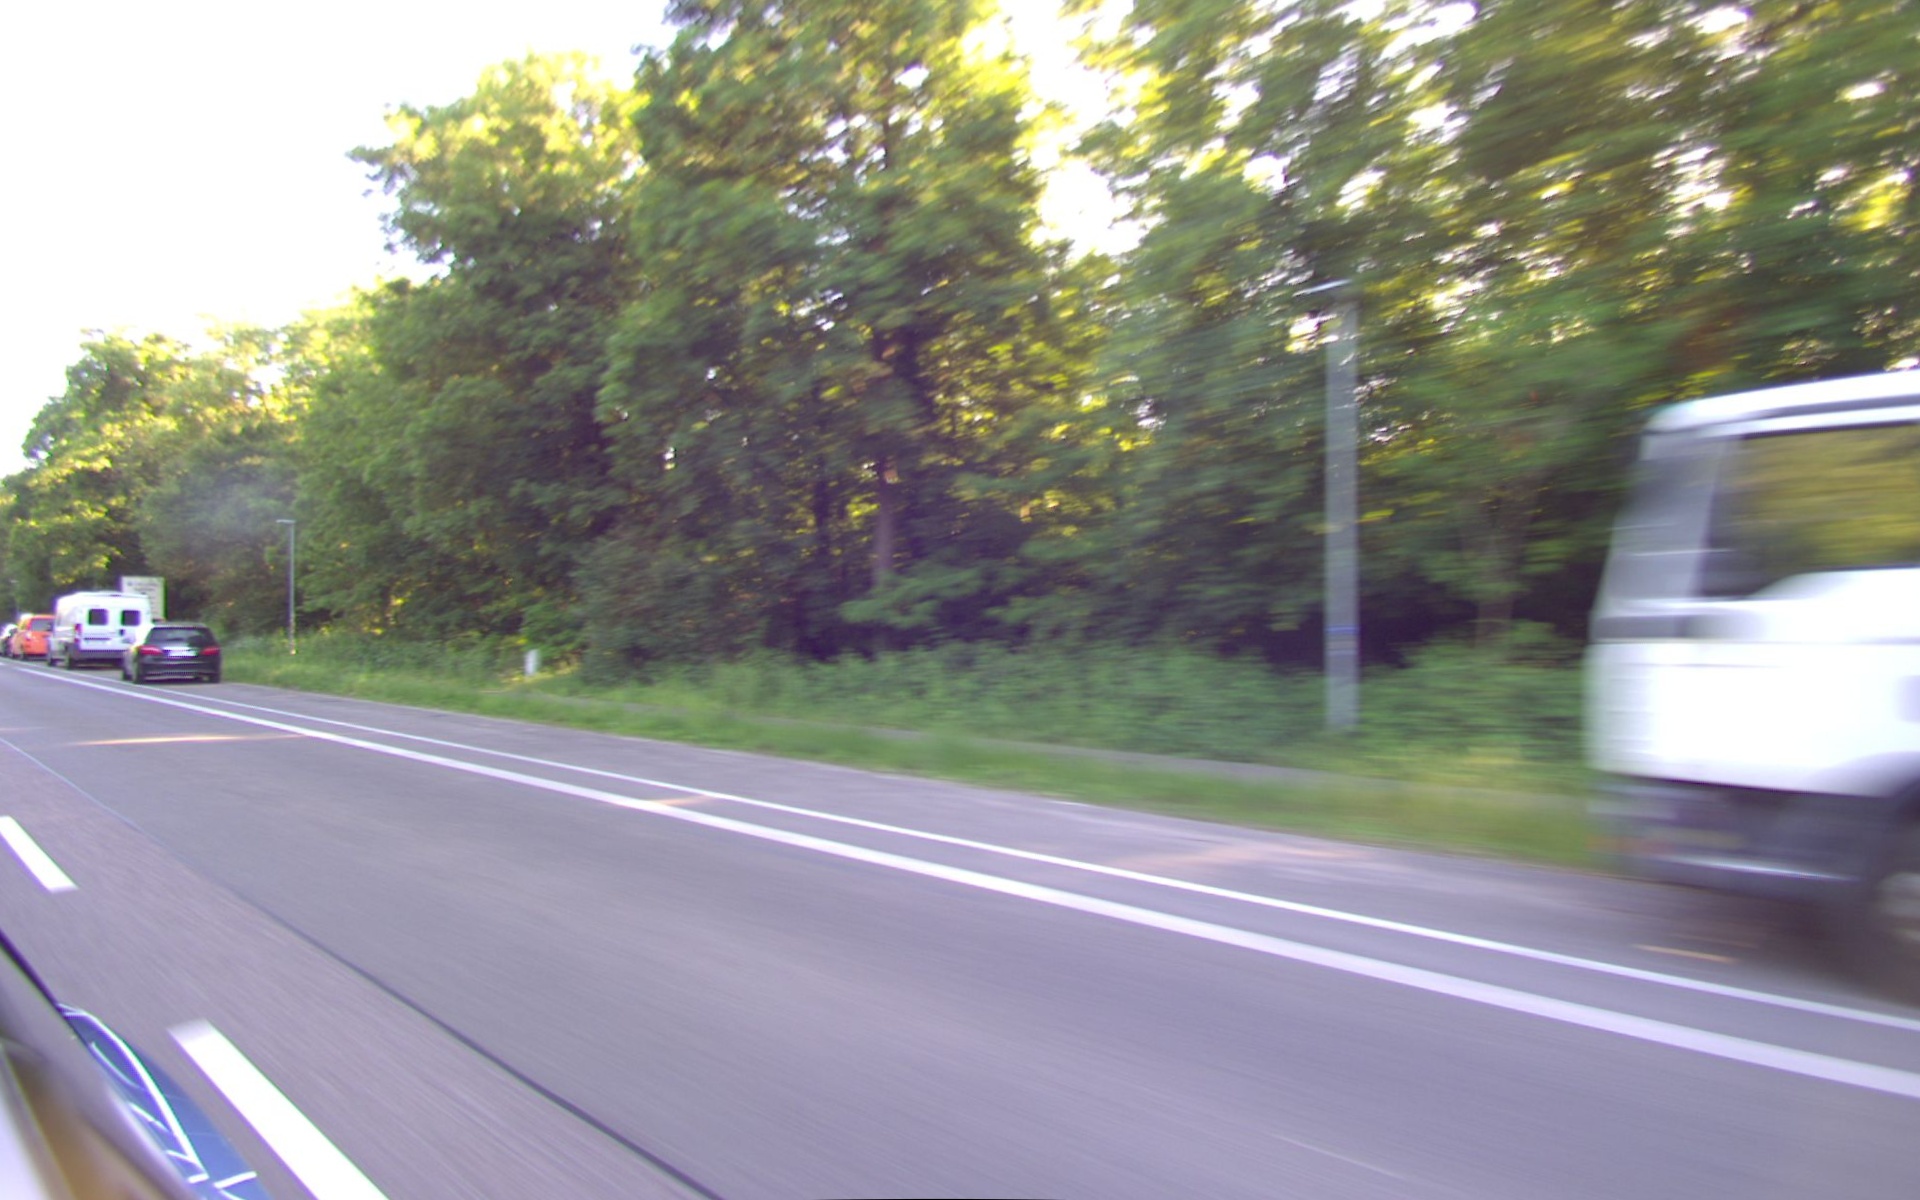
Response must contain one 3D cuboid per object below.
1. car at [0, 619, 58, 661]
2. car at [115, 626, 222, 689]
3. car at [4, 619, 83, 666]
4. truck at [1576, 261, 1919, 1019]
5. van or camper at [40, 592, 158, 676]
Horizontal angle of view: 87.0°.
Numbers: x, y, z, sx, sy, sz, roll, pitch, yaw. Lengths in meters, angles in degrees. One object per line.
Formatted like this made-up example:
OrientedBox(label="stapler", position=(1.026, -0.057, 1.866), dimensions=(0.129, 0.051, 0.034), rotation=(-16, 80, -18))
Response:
OrientedBox(label="car", position=(-42.499, 1.786, 45.832), dimensions=(4.142, 1.821, 1.973), rotation=(-2, -1, 41))
OrientedBox(label="car", position=(-20.710, 1.442, 26.432), dimensions=(1.763, 1.505, 4.003), rotation=(2, -2, -44))
OrientedBox(label="car", position=(-37.792, 1.724, 41.700), dimensions=(4.142, 1.821, 1.973), rotation=(-2, -1, 41))
OrientedBox(label="truck", position=(6.738, 0.086, 2.666), dimensions=(8.420, 2.845, 2.456), rotation=(-2, -1, 41))
OrientedBox(label="van or camper", position=(-29.585, 1.142, 34.692), dimensions=(5.982, 2.634, 2.224), rotation=(-2, -2, 41))
